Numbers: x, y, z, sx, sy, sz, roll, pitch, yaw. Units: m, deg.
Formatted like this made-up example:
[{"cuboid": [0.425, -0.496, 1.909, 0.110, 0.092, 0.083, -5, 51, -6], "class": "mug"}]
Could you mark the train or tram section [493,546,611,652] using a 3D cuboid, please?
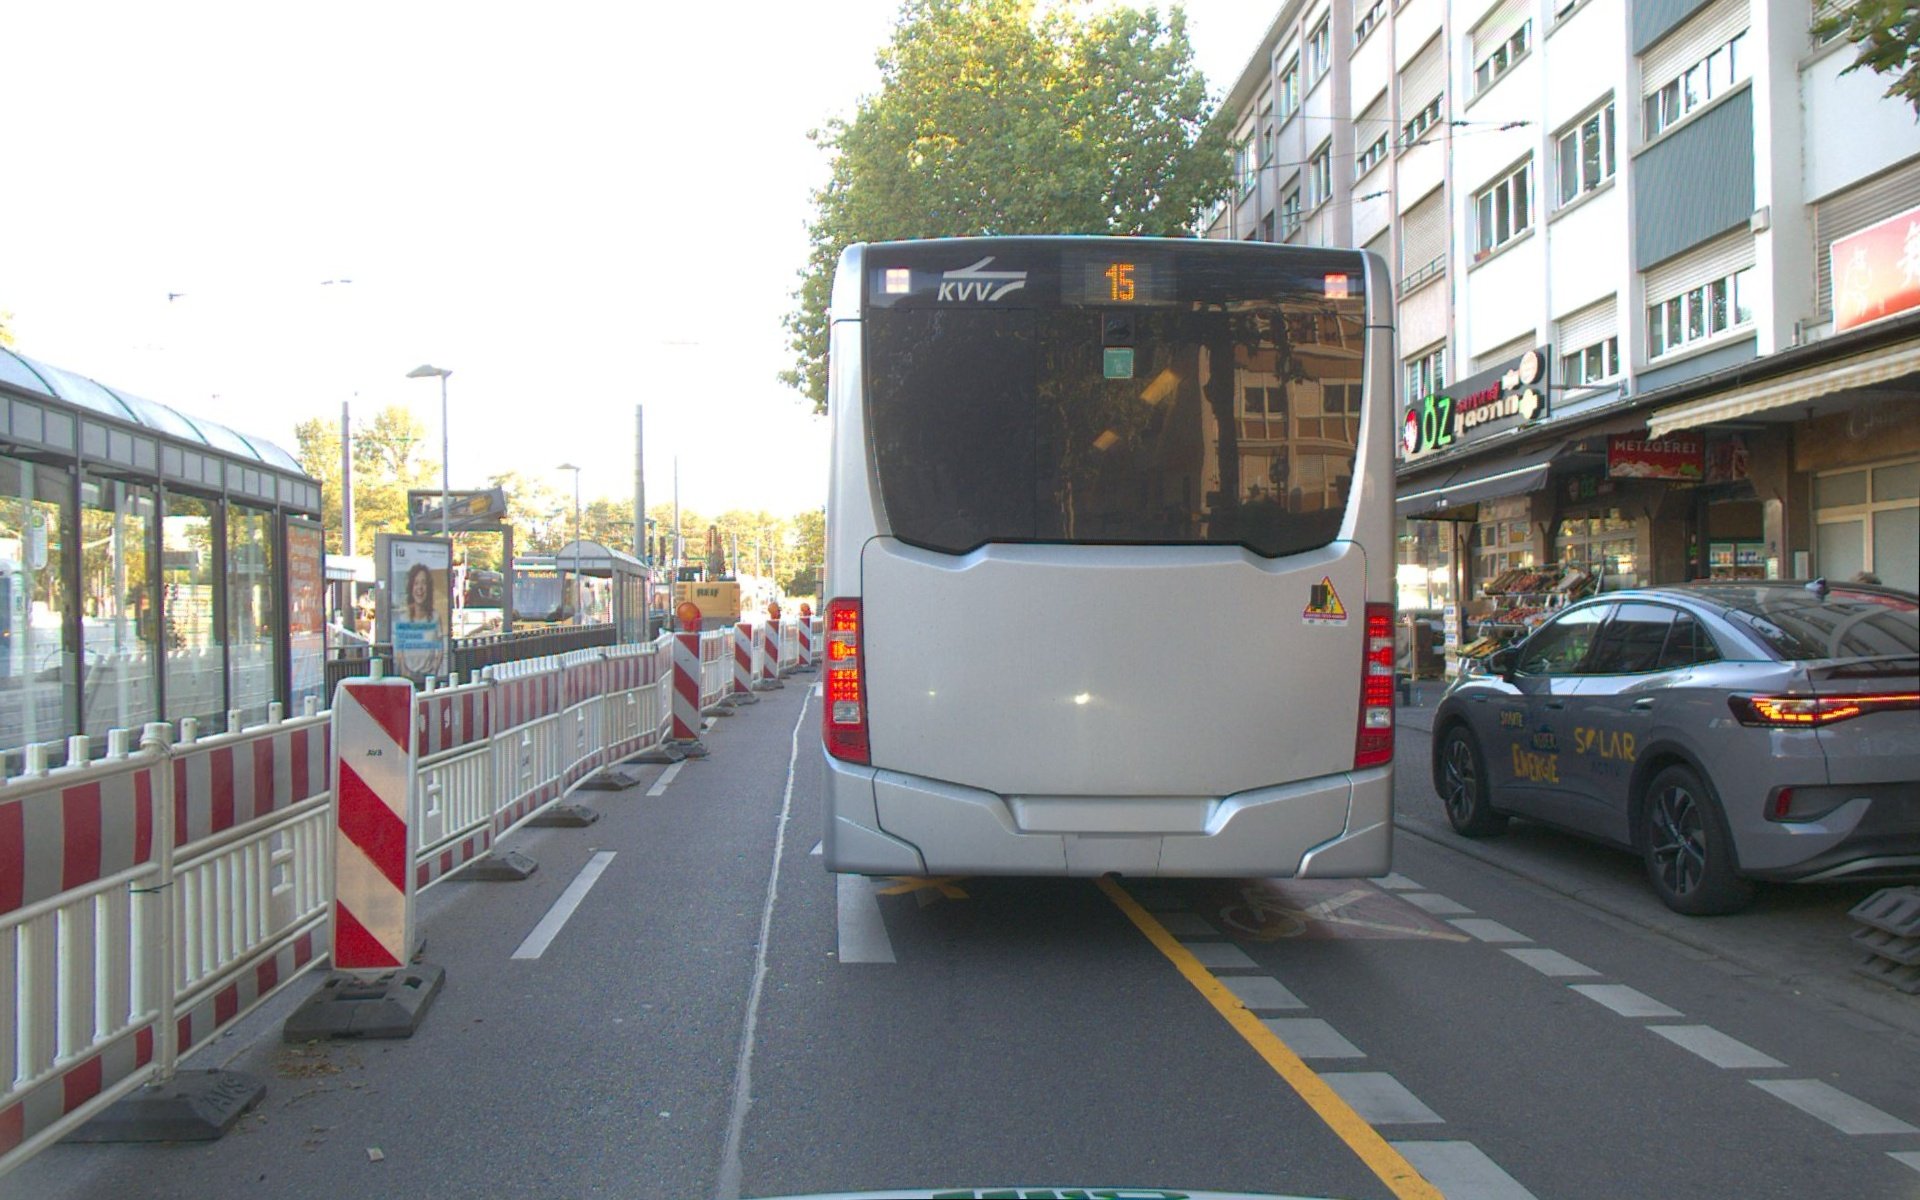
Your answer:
[{"cuboid": [-15.149, 0.010, 62.269, 2.634, 3.595, 11.756, 1, 0, -6], "class": "train or tram section"}]

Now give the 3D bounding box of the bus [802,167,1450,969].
[{"cuboid": [0.631, -0.104, 10.670, 2.558, 3.181, 7.991, 1, 0, -1], "class": "bus"}]

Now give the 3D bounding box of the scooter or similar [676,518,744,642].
[{"cuboid": [-9.609, -0.737, 63.914, 2.422, 4.549, 5.962, 0, 0, -8], "class": "scooter or similar"}]

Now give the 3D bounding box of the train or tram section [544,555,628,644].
[{"cuboid": [-16.526, 0.016, 73.776, 2.636, 3.621, 11.560, 1, 0, -8], "class": "train or tram section"}]

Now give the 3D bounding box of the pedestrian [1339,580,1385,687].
[{"cuboid": [6.550, 0.538, 26.941, 0.649, 1.696, 0.601, -2, -1, 15], "class": "pedestrian"}]

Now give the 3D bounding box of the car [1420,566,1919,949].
[{"cuboid": [4.401, 0.658, 9.442, 1.955, 1.609, 4.363, -3, 0, -5], "class": "car"}]
